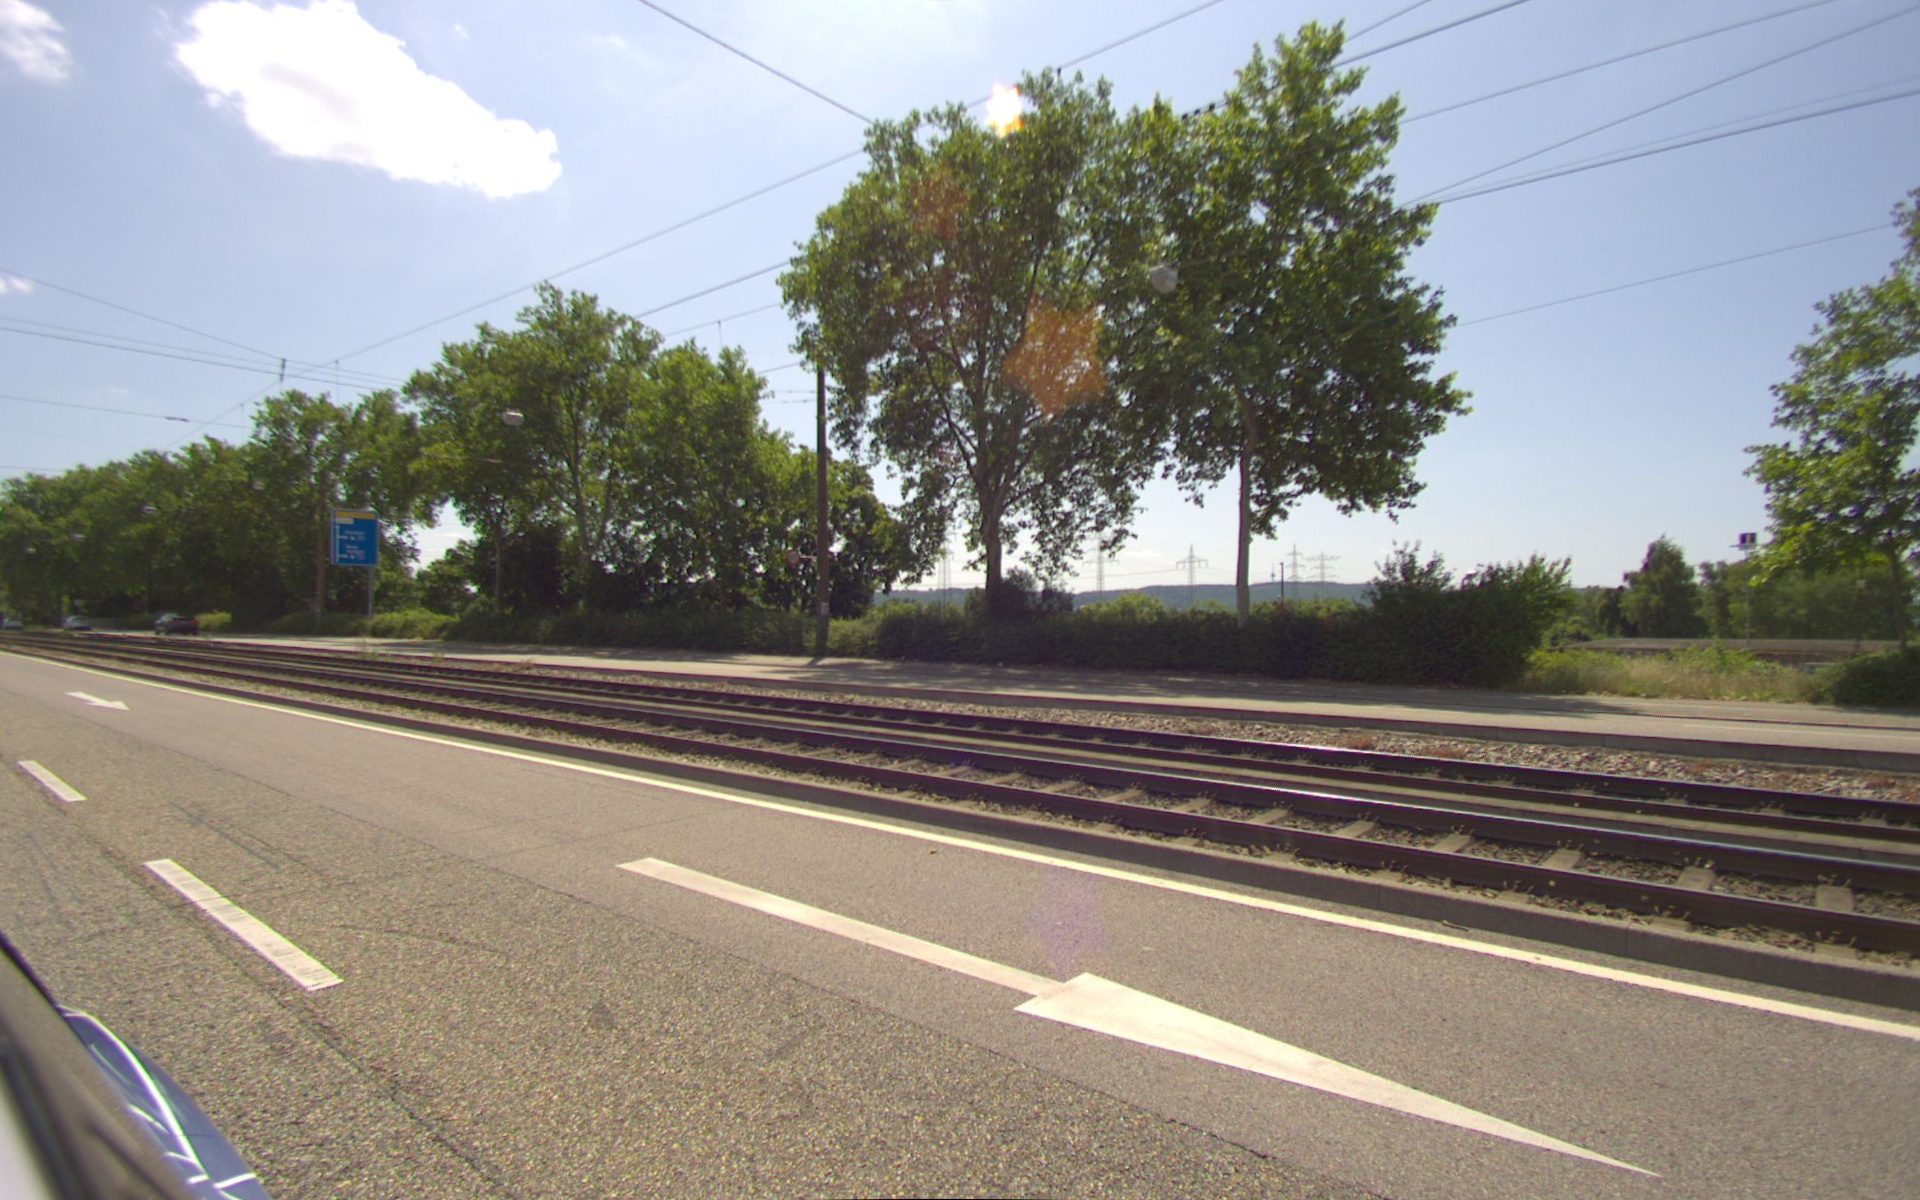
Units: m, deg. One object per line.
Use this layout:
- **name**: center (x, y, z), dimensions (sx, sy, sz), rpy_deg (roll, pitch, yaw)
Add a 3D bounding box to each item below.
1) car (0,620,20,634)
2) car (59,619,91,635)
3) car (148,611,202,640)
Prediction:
- **car**: center (-113.089, 3.225, 120.064), dimensions (4.055, 1.596, 1.668), rpy_deg (-1, -4, 40)
- **car**: center (-82.504, 2.476, 94.322), dimensions (3.883, 1.426, 1.803), rpy_deg (-1, -3, 42)
- **car**: center (-53.837, 1.732, 69.381), dimensions (4.406, 1.932, 1.974), rpy_deg (-1, 0, 39)
